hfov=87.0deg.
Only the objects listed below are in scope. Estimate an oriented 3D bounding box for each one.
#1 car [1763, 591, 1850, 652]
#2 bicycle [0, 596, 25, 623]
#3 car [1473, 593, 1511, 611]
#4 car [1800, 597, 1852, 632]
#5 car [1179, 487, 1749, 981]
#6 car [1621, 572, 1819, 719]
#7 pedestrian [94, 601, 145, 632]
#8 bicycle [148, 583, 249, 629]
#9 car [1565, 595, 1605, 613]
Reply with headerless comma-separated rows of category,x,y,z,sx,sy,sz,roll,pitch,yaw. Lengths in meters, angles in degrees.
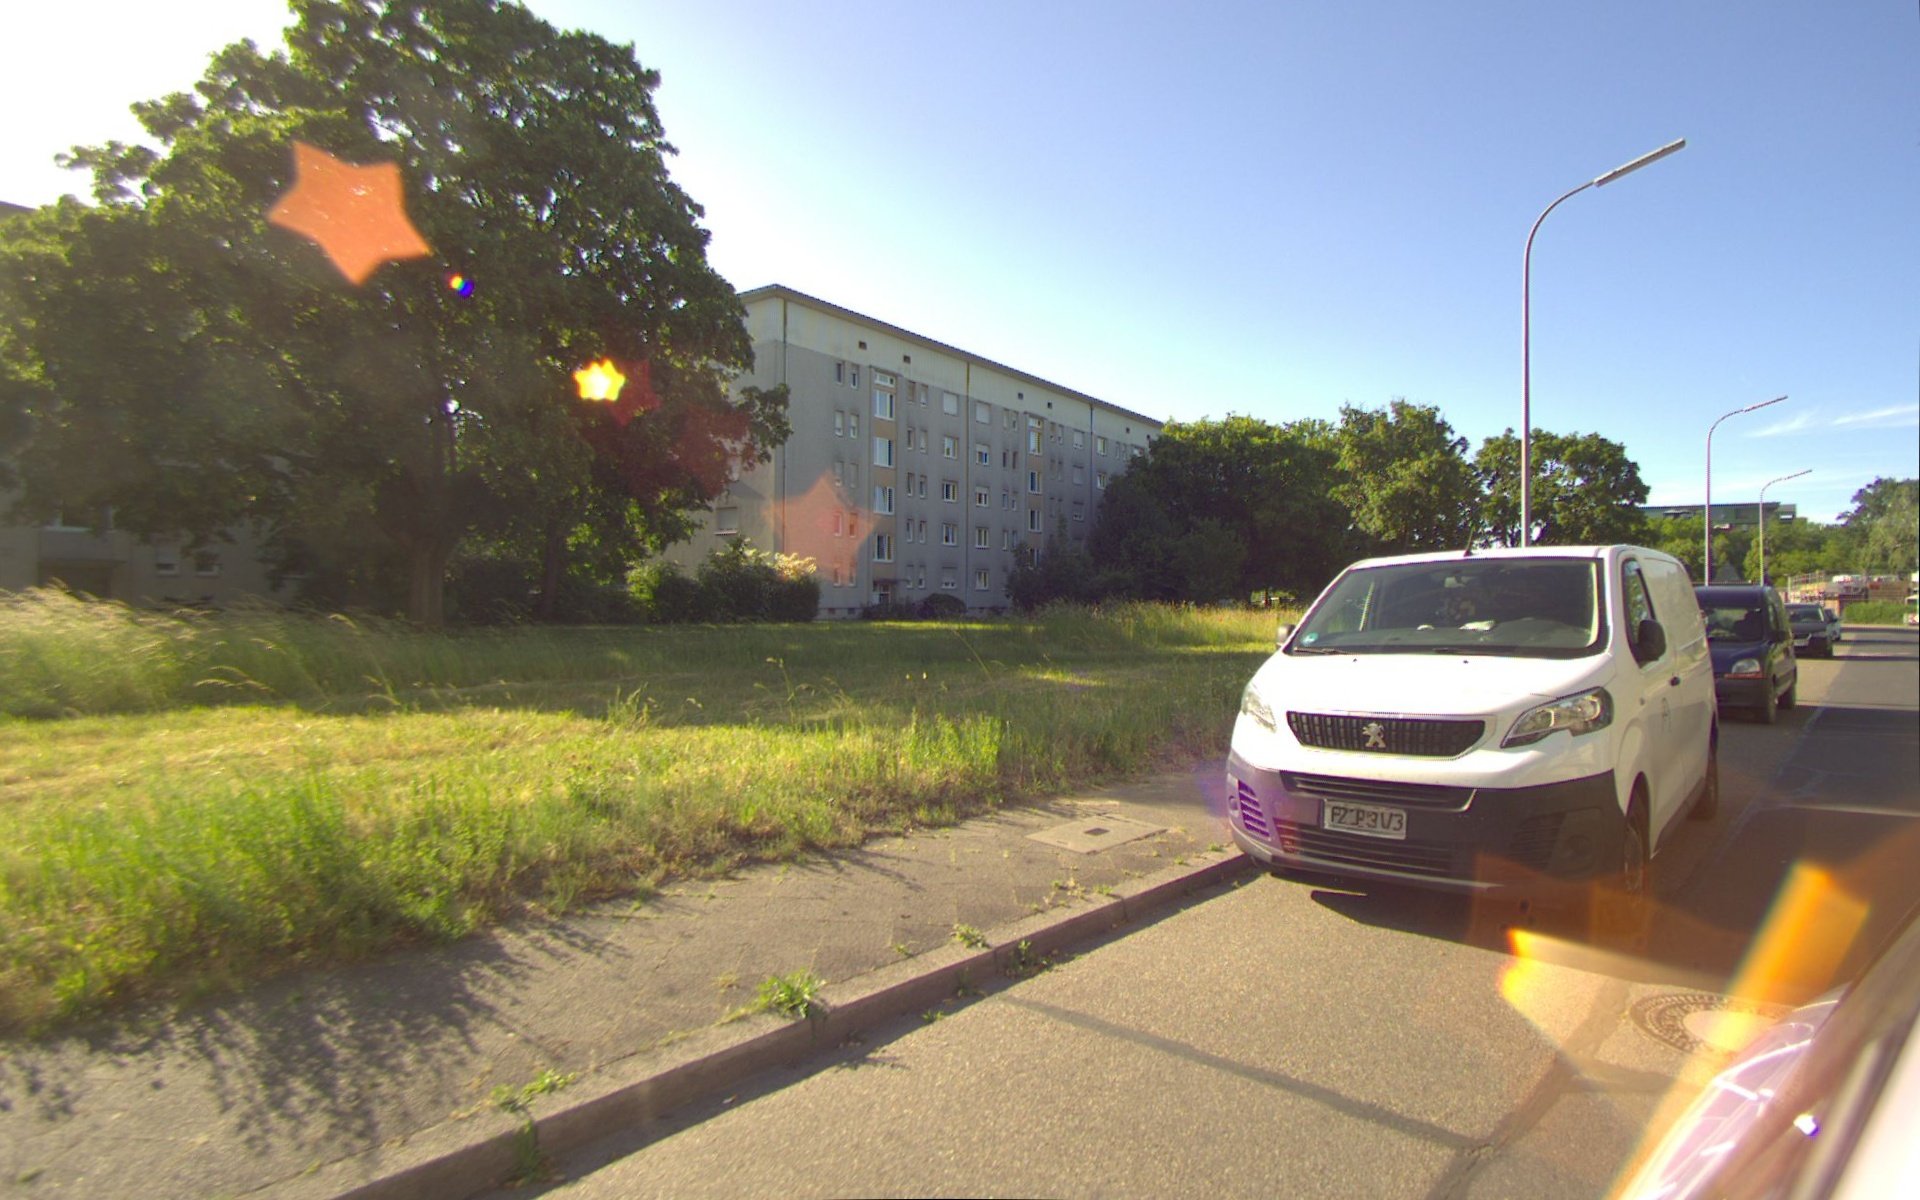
car,25.207,0.606,30.178,1.836,1.673,4.404,-1,-1,40
bicycle,-30.115,0.300,30.880,0.692,0.822,2.268,1,1,43
car,56.874,0.182,108.195,3.924,1.795,1.958,-2,2,-34
car,38.567,0.630,45.035,1.650,1.499,3.857,-2,-1,42
car,3.452,0.518,6.317,1.914,1.895,4.790,-1,-1,43
car,10.696,0.544,14.137,1.698,1.752,4.018,-1,-1,44
pedestrian,-24.402,0.459,29.381,0.740,0.859,0.991,1,0,36
bicycle,-26.468,0.192,35.229,0.778,1.544,2.718,1,1,37
car,61.328,0.384,99.236,3.923,1.796,1.862,0,1,-34
